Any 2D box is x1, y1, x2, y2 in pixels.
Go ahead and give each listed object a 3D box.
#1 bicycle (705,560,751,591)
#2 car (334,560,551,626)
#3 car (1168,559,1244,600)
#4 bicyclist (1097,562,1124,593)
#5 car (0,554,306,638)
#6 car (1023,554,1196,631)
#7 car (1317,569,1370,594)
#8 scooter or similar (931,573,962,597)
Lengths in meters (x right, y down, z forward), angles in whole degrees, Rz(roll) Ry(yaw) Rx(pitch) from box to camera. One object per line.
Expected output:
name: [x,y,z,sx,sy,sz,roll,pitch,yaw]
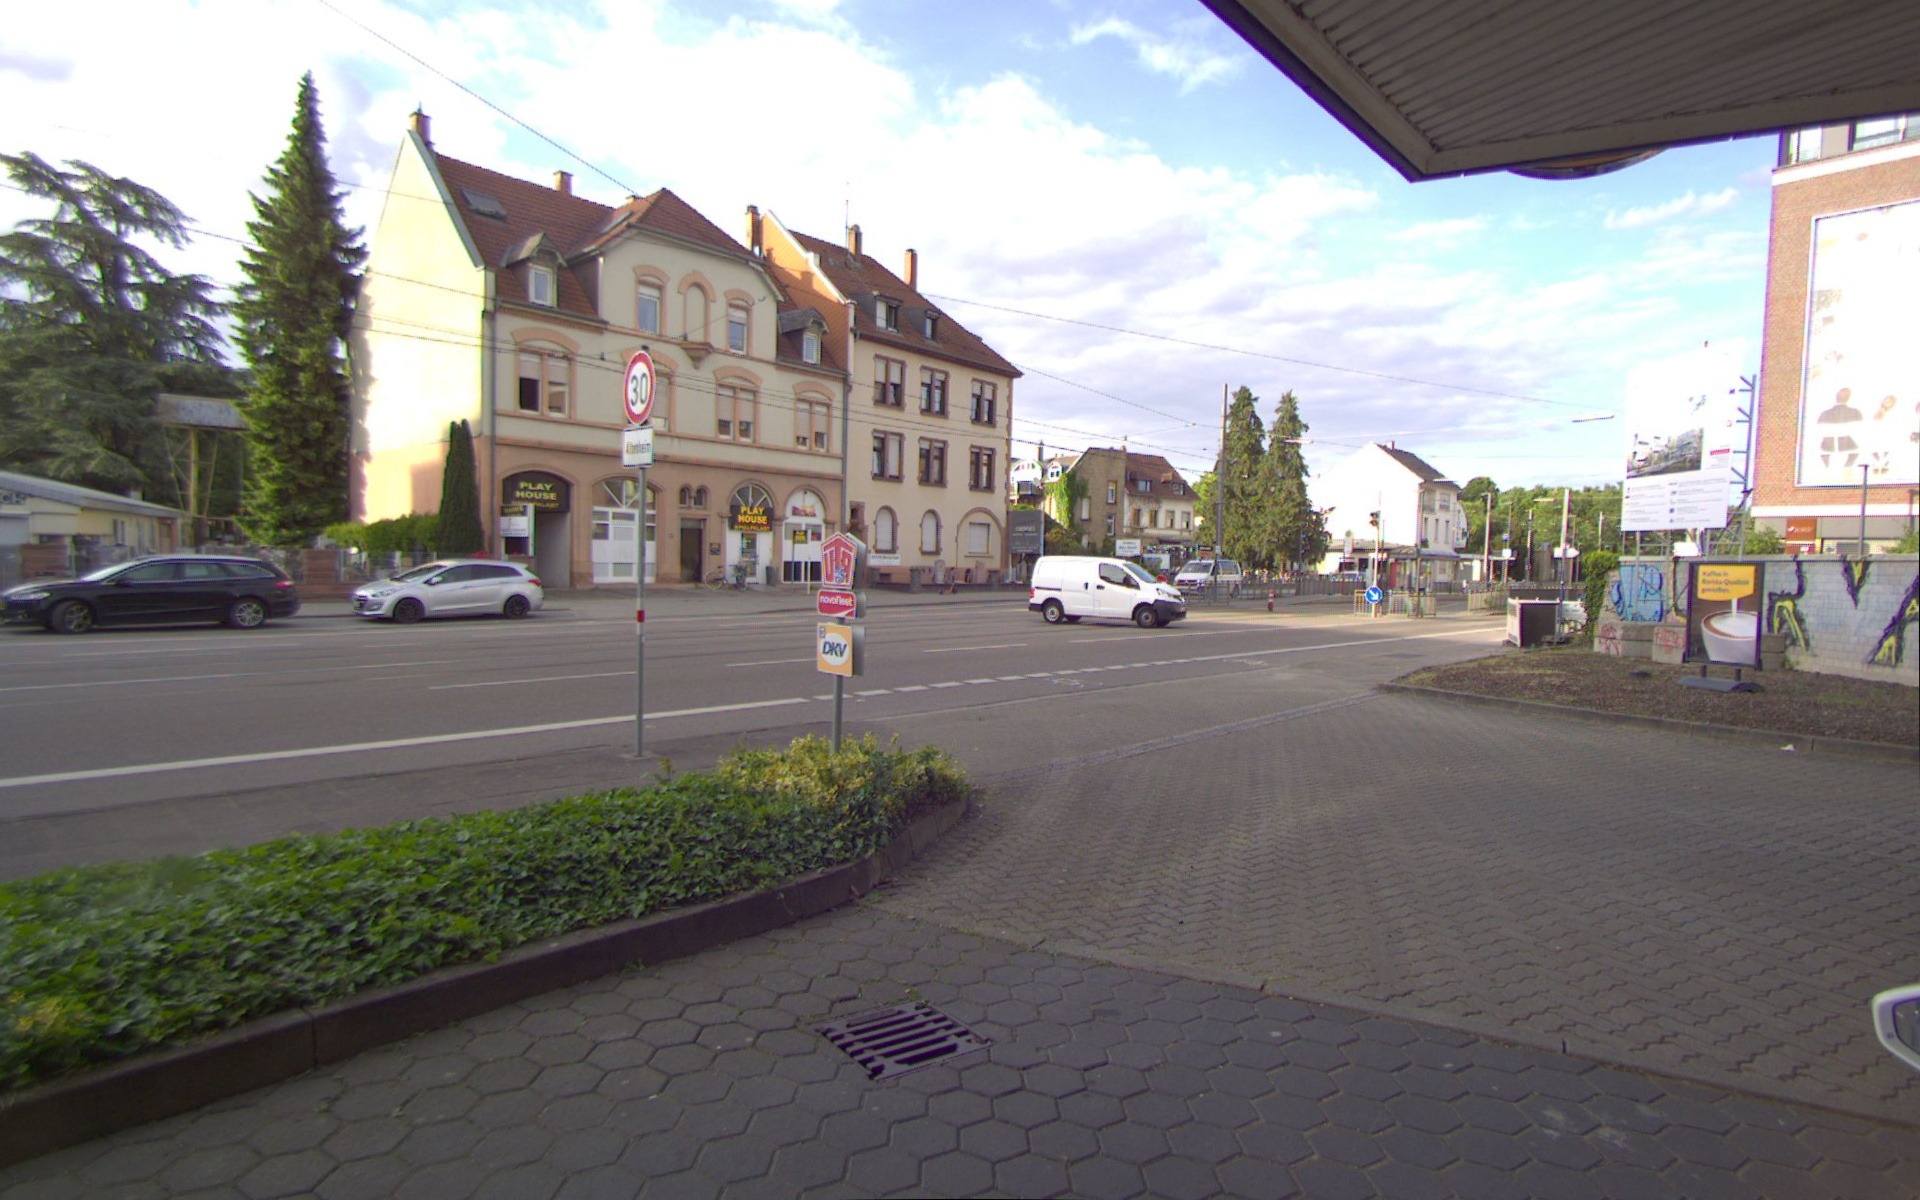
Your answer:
bicycle: [-9.144,-0.956,39.709,0.508,1.189,1.809,4,2,40]
car: [-13.002,-0.246,25.465,1.970,1.495,4.467,3,3,40]
car: [12.742,-1.080,51.877,1.969,1.995,4.868,3,3,38]
bicyclist: [7.955,-1.185,53.049,1.079,1.512,0.785,2,4,-20]
car: [-16.571,-0.148,20.732,1.970,1.516,4.801,3,3,40]
car: [4.174,-0.251,28.175,4.333,1.915,1.964,3,2,31]
car: [25.345,-1.240,66.250,1.814,1.598,4.357,2,3,42]
scooter or similar: [-0.599,-0.692,45.136,0.488,1.015,1.592,5,5,39]
